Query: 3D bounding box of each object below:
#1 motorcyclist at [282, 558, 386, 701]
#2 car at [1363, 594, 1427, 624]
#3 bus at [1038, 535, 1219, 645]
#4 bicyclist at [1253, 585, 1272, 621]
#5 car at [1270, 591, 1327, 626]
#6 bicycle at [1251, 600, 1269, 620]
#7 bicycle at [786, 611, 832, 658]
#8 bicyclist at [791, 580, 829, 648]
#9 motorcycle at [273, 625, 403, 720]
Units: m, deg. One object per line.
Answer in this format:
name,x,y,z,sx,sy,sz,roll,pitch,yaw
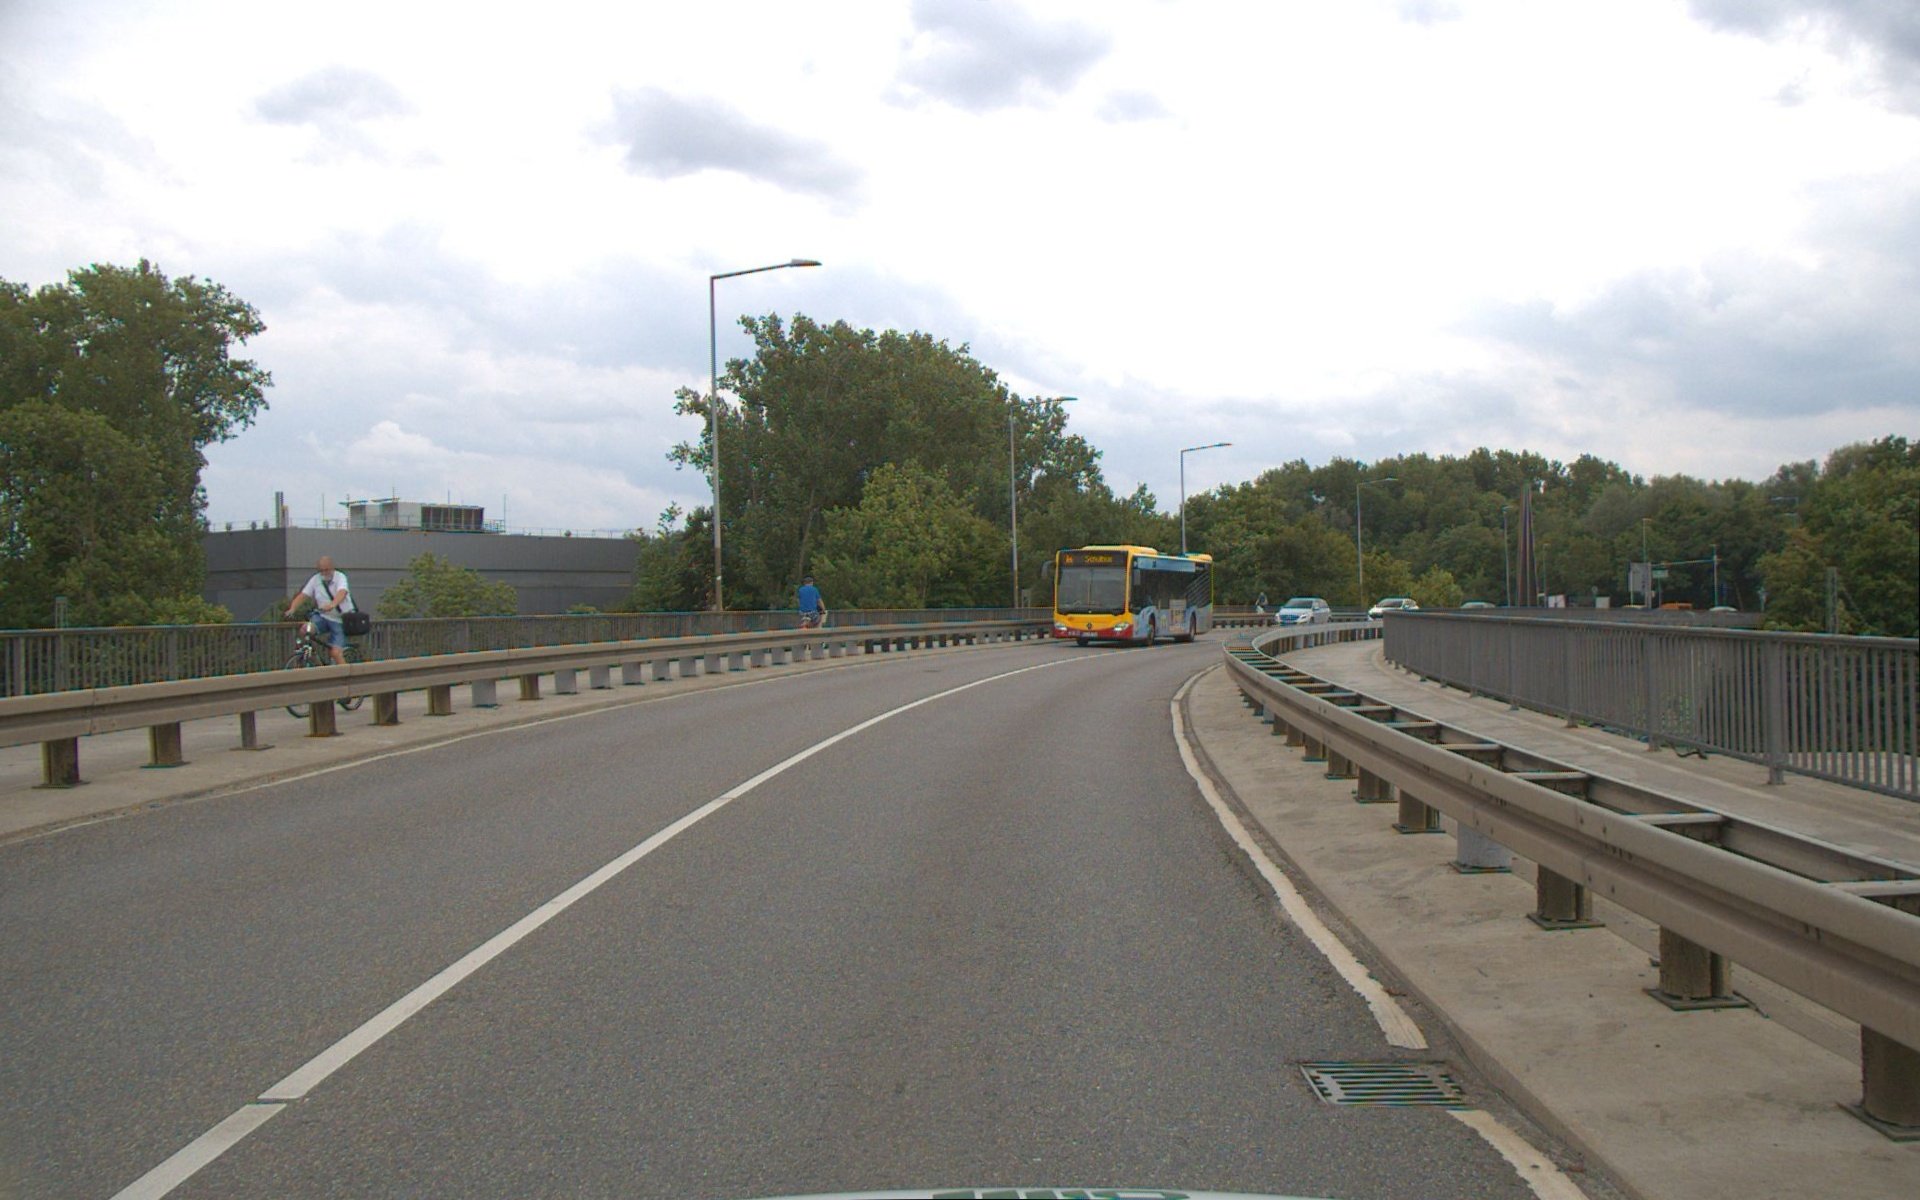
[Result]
motorcyclist,-7.019,0.321,18.573,0.793,1.556,0.825,1,0,3
car,24.126,0.493,91.614,1.907,1.621,4.757,1,0,35
bus,5.986,-0.287,55.763,2.969,3.290,12.953,1,0,20
bicyclist,16.058,0.158,87.686,0.831,1.840,0.796,1,0,22
car,16.484,0.422,80.398,1.782,1.648,4.395,1,0,25
bicycle,15.902,0.525,87.656,0.632,1.086,1.761,1,0,21
bicycle,-3.541,0.796,38.827,0.482,1.063,1.811,1,0,15
bicyclist,-3.522,0.334,38.846,0.597,1.567,0.757,1,0,19
motorcycle,-6.929,0.783,18.514,0.612,0.980,1.841,1,0,5
